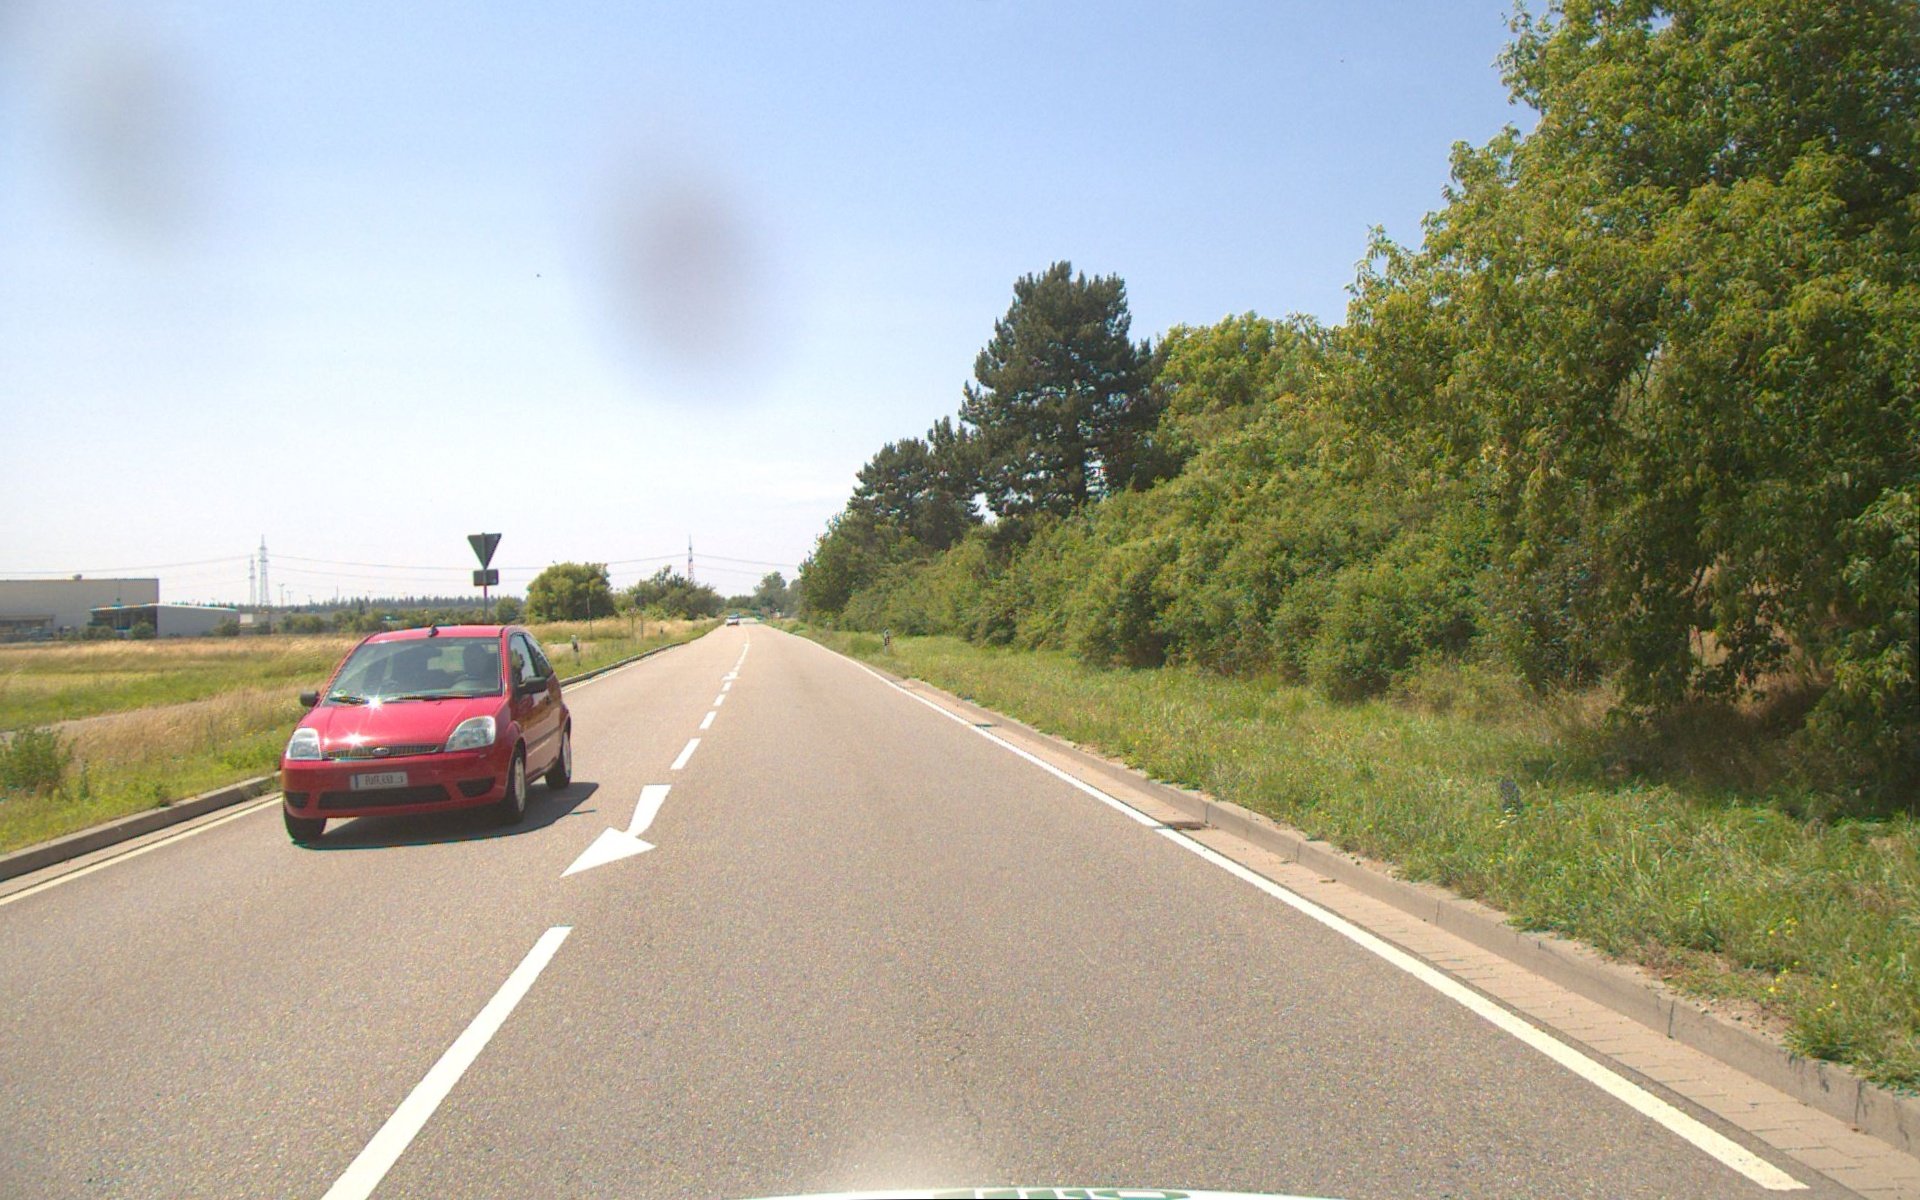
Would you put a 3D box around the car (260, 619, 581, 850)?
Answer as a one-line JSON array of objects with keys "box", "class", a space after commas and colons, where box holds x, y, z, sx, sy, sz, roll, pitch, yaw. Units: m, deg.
[{"box": [-4.101, 0.930, 13.150, 1.624, 1.458, 3.731, -3, 0, -7], "class": "car"}]

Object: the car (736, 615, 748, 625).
[{"box": [-33.052, 3.008, 250.420, 1.647, 1.445, 4.413, -4, 0, -8], "class": "car"}]
